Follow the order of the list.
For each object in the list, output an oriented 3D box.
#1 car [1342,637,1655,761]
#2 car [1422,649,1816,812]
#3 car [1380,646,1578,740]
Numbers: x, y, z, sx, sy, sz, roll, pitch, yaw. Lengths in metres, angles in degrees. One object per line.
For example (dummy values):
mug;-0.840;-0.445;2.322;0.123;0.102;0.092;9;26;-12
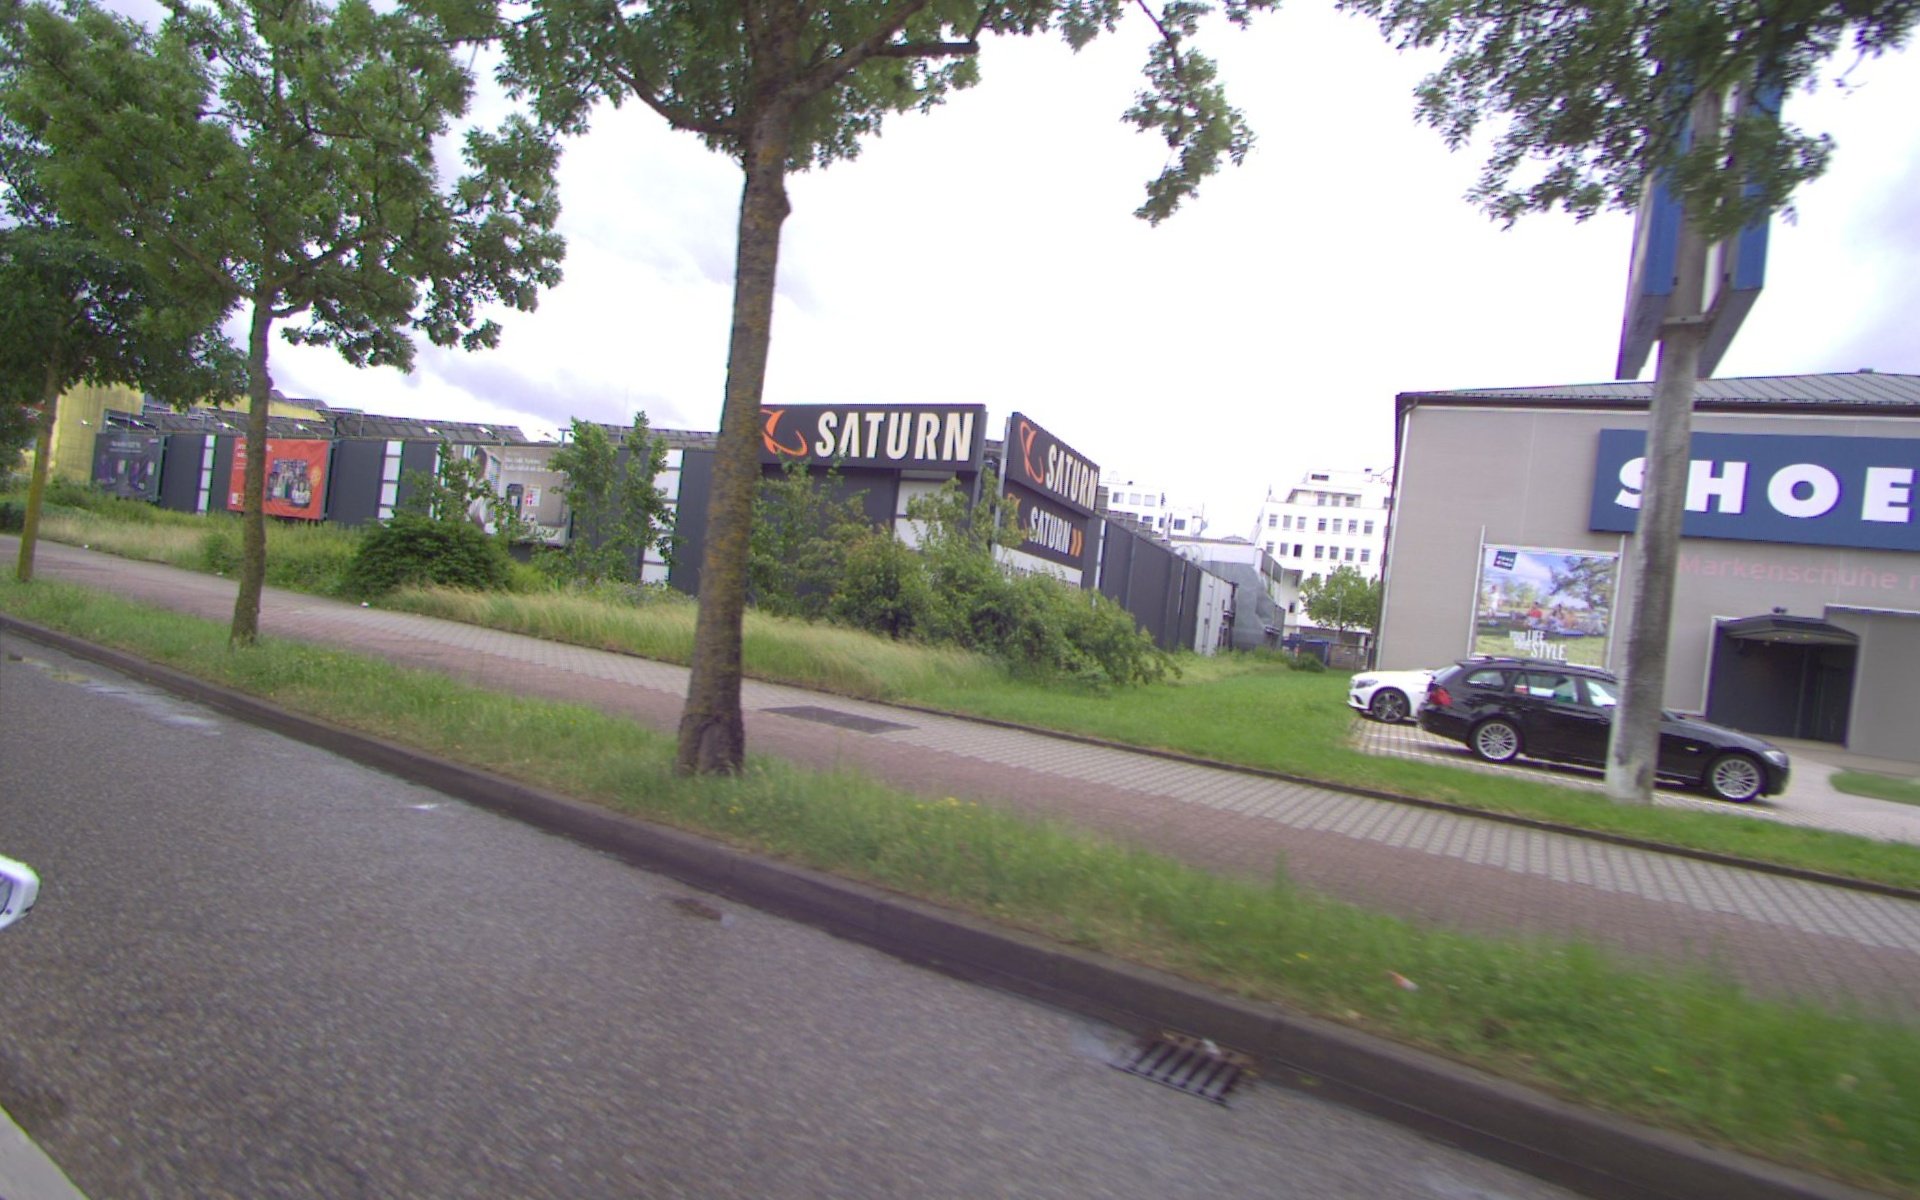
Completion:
car;9.907;1.773;19.008;4.862;1.487;1.885;7;1;22
car;8.816;1.689;13.924;4.188;1.446;1.582;7;1;22
car;11.035;1.937;21.657;3.522;1.459;1.584;7;1;22
